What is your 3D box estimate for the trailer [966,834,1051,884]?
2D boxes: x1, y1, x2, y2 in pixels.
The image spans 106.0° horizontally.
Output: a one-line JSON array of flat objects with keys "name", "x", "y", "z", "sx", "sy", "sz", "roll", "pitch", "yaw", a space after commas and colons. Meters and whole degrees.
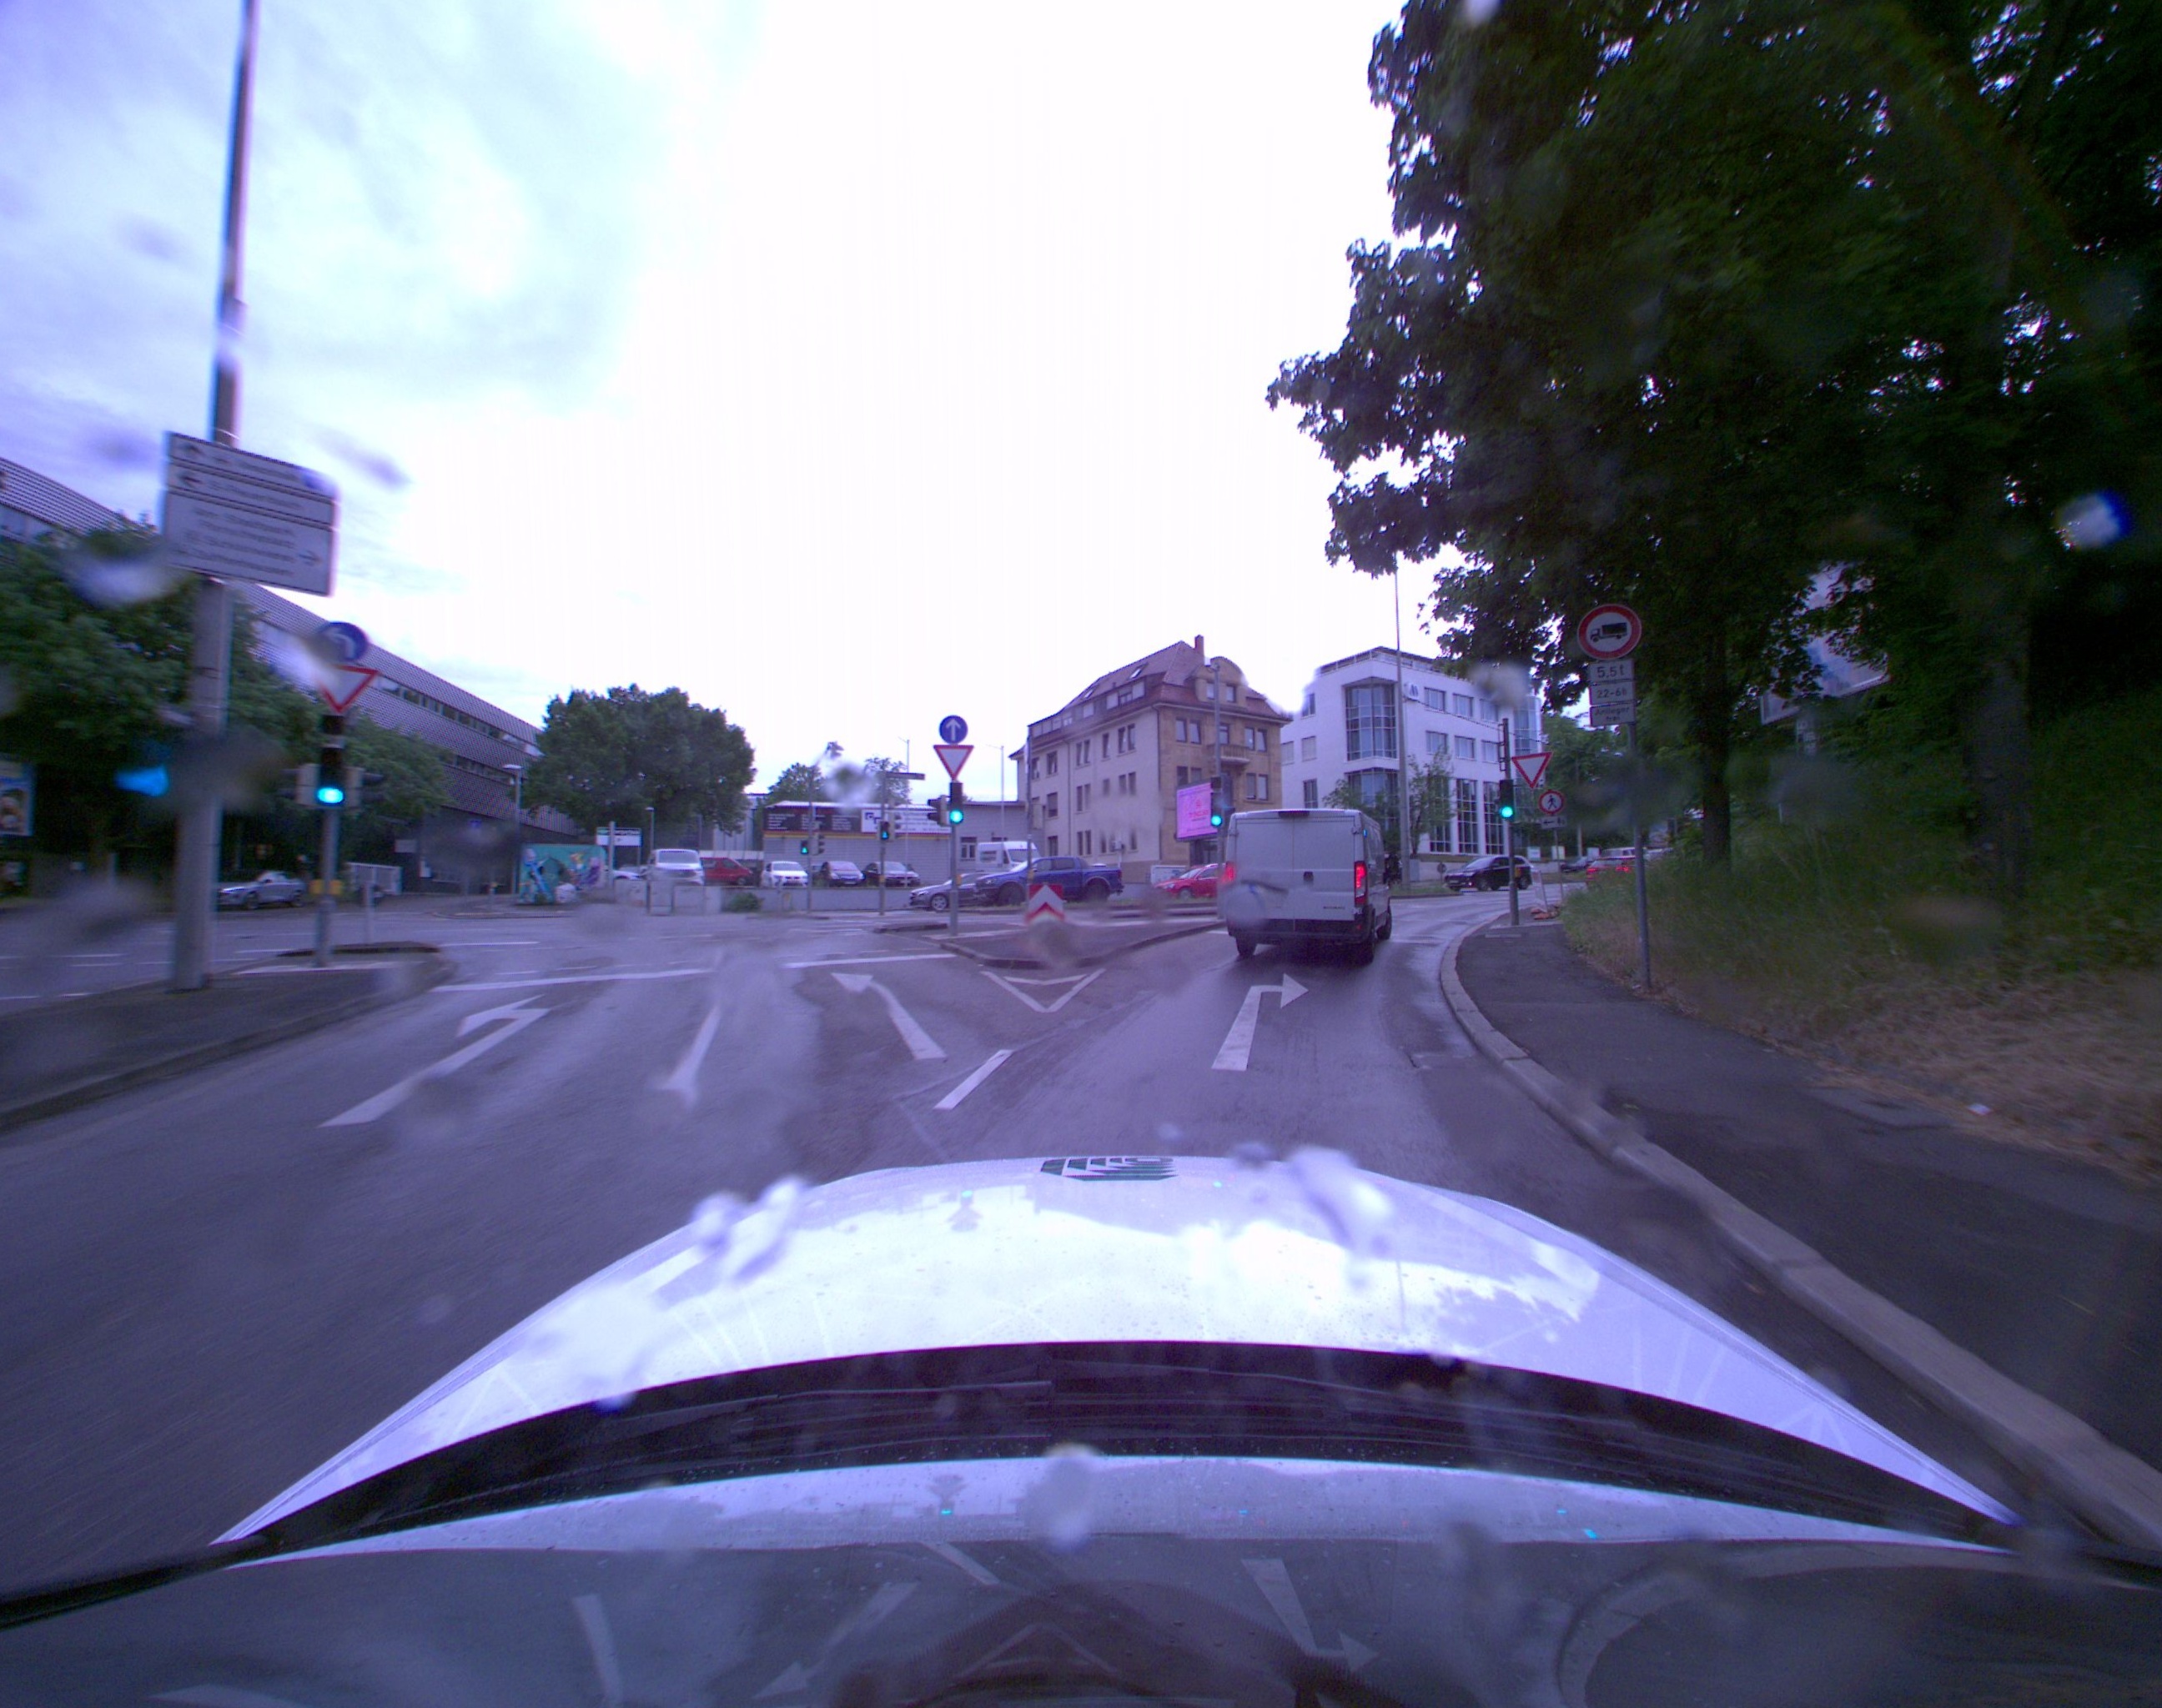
[{"name": "trailer", "x": -4.253, "y": 0.399, "z": 46.161, "sx": 2.400, "sy": 2.429, "sz": 7.056, "roll": 1, "pitch": -4, "yaw": -27}]

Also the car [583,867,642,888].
[{"name": "car", "x": -25.870, "y": 1.298, "z": 45.004, "sx": 2.730, "sy": 1.105, "sz": 1.186, "roll": 2, "pitch": -4, "yaw": -31}]

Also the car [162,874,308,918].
[{"name": "car", "x": -34.213, "y": 1.658, "z": 33.152, "sx": 2.030, "sy": 1.600, "sz": 4.361, "roll": 0, "pitch": -1, "yaw": -13}]

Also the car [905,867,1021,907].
[{"name": "car", "x": -4.458, "y": 1.268, "z": 30.895, "sx": 4.078, "sy": 1.459, "sz": 1.533, "roll": 1, "pitch": -4, "yaw": -26}]

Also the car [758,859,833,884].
[{"name": "car", "x": -18.053, "y": 1.120, "z": 51.617, "sx": 4.335, "sy": 1.407, "sz": 1.365, "roll": -1, "pitch": -3, "yaw": -16}]

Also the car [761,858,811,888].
[{"name": "car", "x": -14.166, "y": 0.877, "z": 39.008, "sx": 1.876, "sy": 1.369, "sz": 3.592, "roll": 1, "pitch": -1, "yaw": -26}]

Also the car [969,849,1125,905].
[{"name": "car", "x": -1.200, "y": 0.813, "z": 29.005, "sx": 5.179, "sy": 1.819, "sz": 1.923, "roll": -1, "pitch": -3, "yaw": -26}]

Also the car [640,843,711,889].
[{"name": "car", "x": -18.413, "y": 0.627, "z": 36.853, "sx": 2.228, "sy": 1.802, "sz": 5.315, "roll": 2, "pitch": -4, "yaw": -33}]

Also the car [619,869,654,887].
[{"name": "car", "x": -30.367, "y": 1.682, "z": 55.733, "sx": 1.749, "sy": 1.123, "sz": 3.459, "roll": 1, "pitch": -4, "yaw": -23}]

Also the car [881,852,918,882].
[{"name": "car", "x": -9.046, "y": 0.651, "z": 40.523, "sx": 1.230, "sy": 1.424, "sz": 2.664, "roll": 1, "pitch": -1, "yaw": -25}]

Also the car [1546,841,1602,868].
[{"name": "car", "x": 35.772, "y": 0.017, "z": 59.057, "sx": 4.004, "sy": 1.722, "sz": 1.600, "roll": -2, "pitch": -3, "yaw": -29}]

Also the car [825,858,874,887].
[{"name": "car", "x": -11.226, "y": 0.872, "z": 39.357, "sx": 1.745, "sy": 1.369, "sz": 3.592, "roll": 1, "pitch": -1, "yaw": -26}]

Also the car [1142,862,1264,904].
[{"name": "car", "x": 4.732, "y": 1.145, "z": 31.606, "sx": 4.450, "sy": 1.531, "sz": 1.796, "roll": 1, "pitch": -4, "yaw": -26}]

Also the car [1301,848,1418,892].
[{"name": "car", "x": 11.961, "y": 0.667, "z": 34.957, "sx": 4.633, "sy": 1.697, "sz": 1.944, "roll": -1, "pitch": -3, "yaw": -25}]

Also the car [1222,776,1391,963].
[{"name": "car", "x": 3.966, "y": 0.192, "z": 13.619, "sx": 2.032, "sy": 2.516, "sz": 4.971, "roll": 0, "pitch": 0, "yaw": 23}]

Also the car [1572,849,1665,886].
[{"name": "car", "x": 21.974, "y": 0.593, "z": 33.300, "sx": 3.374, "sy": 1.426, "sz": 1.684, "roll": 1, "pitch": -3, "yaw": -26}]

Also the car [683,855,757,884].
[{"name": "car", "x": -24.045, "y": 1.067, "z": 54.366, "sx": 4.310, "sy": 1.861, "sz": 1.729, "roll": 1, "pitch": -4, "yaw": -20}]

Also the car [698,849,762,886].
[{"name": "car", "x": -24.732, "y": 1.002, "z": 57.492, "sx": 3.986, "sy": 2.498, "sz": 1.643, "roll": 1, "pitch": -4, "yaw": -19}]

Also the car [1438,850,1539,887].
[{"name": "car", "x": 19.054, "y": 0.734, "z": 38.037, "sx": 4.737, "sy": 1.605, "sz": 1.679, "roll": 1, "pitch": -4, "yaw": -26}]
